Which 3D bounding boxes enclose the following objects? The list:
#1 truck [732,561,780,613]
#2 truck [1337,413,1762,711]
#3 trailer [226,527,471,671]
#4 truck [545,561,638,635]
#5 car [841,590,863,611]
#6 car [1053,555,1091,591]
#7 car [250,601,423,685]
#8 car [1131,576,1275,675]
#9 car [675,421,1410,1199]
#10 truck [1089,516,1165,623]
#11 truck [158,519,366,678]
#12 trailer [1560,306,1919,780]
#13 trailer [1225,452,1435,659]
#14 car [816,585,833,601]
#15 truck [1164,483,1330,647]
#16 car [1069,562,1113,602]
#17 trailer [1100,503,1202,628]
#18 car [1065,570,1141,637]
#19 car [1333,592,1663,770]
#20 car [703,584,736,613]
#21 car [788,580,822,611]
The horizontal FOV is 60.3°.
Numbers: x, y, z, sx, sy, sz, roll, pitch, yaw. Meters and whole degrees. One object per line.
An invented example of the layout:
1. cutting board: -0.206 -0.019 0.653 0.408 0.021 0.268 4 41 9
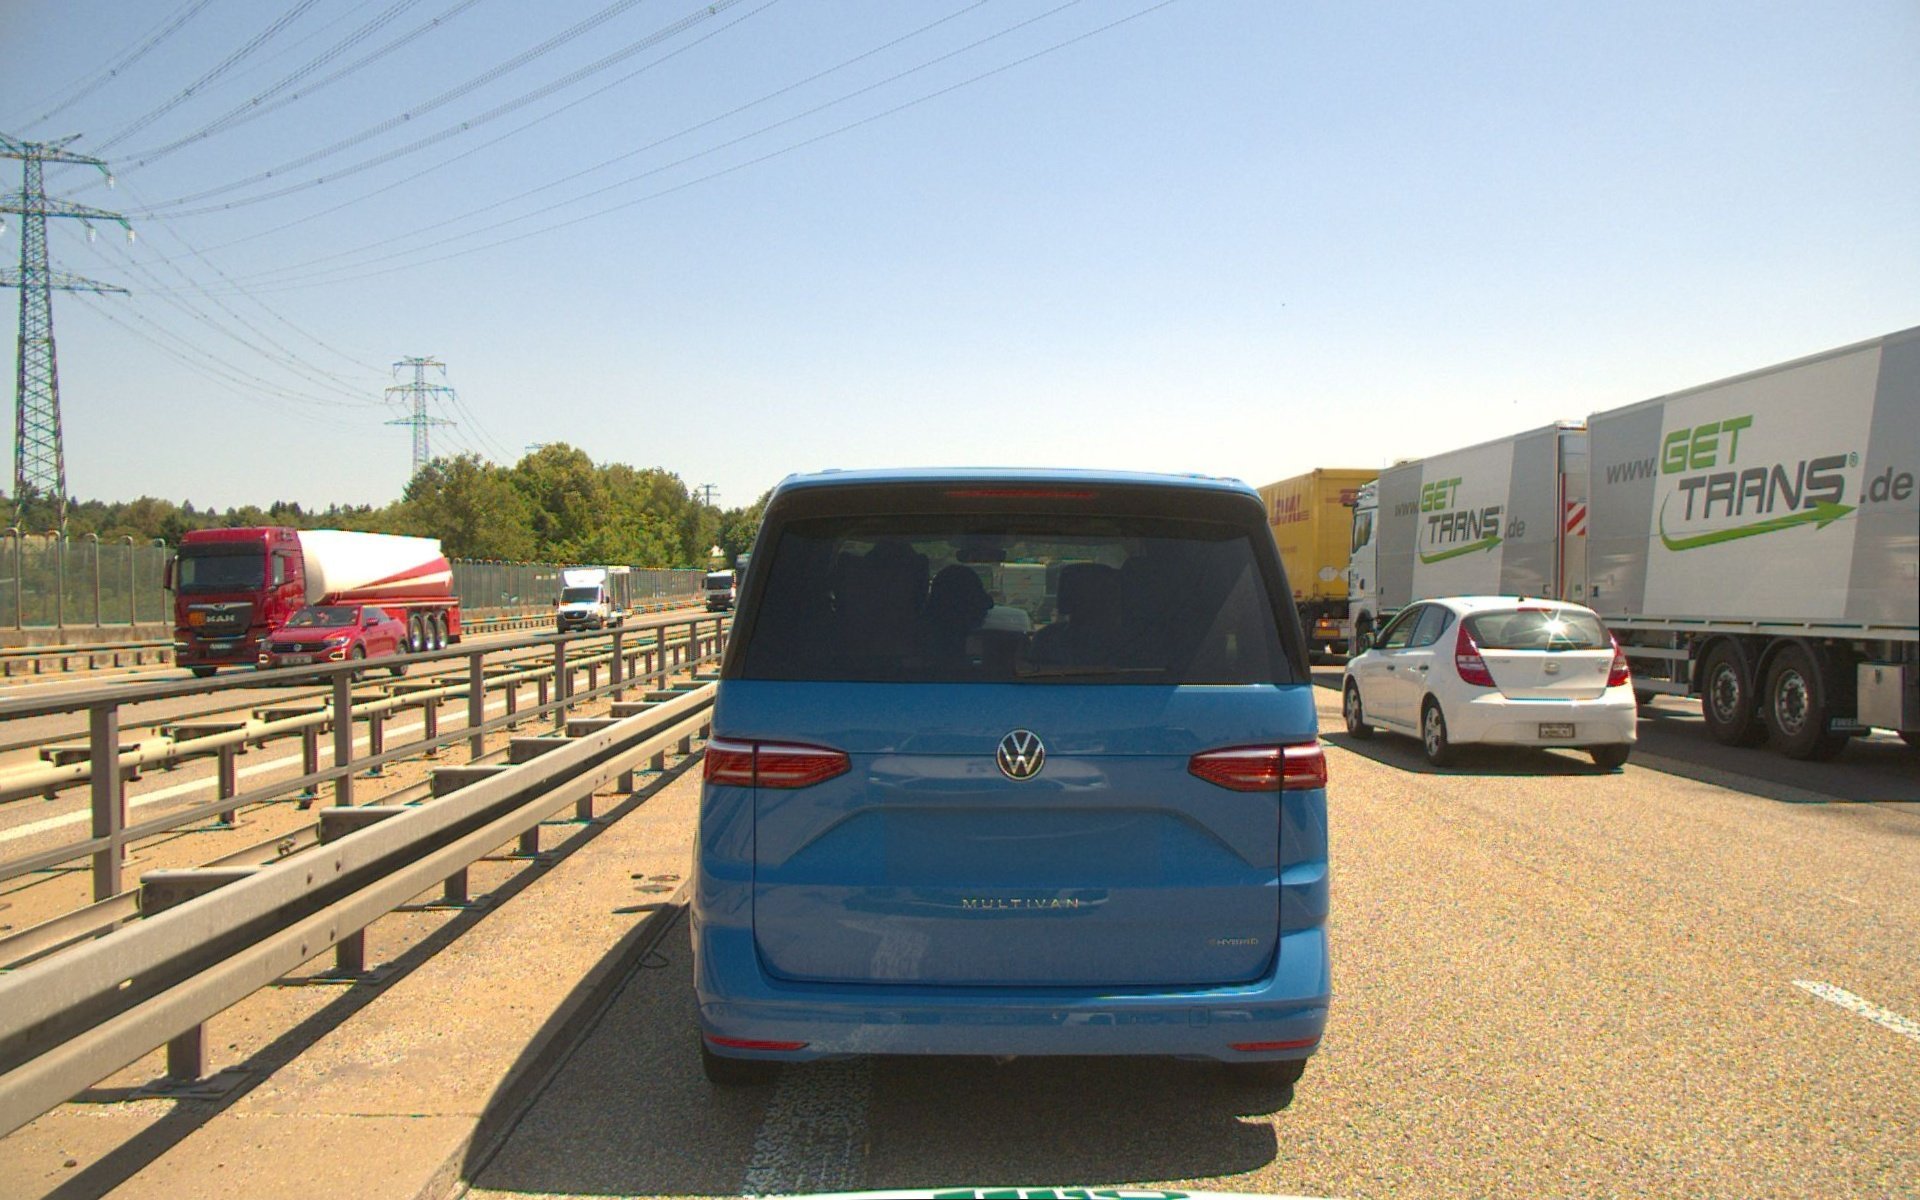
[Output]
1. truck: -14.235 -0.885 116.115 2.510 3.418 8.860 -2 0 -2
2. truck: 8.623 -0.510 26.160 2.603 3.711 11.008 0 0 -1
3. trailer: -16.616 -0.059 46.164 2.430 3.402 12.070 -2 0 -1
4. truck: -17.250 -0.102 77.889 2.468 3.164 8.720 -3 0 -2
5. car: -10.743 0.020 164.256 1.953 2.049 4.311 1 0 -1
6. car: 6.686 -1.588 99.085 1.953 2.049 4.460 -1 0 -1
7. car: -12.184 0.789 32.610 1.826 1.469 4.130 -2 0 -1
8. car: 4.325 0.424 30.089 1.922 1.673 4.292 0 0 -1
9. car: 0.184 0.517 6.104 1.783 1.890 4.074 1 0 -1
10. truck: 7.478 -1.324 74.690 2.613 4.562 6.848 1 0 -1
11. truck: -16.499 -0.054 39.541 2.447 3.424 5.833 -2 0 -1
12. trailer: 8.875 -0.480 16.623 2.643 3.765 8.013 0 0 -1
13. trailer: 8.519 -0.934 39.371 2.806 4.313 9.009 1 0 -1
14. car: -18.190 -0.937 221.997 1.953 2.049 3.999 1 0 -1
15. truck: 8.292 -0.947 49.383 2.778 4.317 11.008 1 0 -1
16. car: 6.988 -0.957 88.274 1.953 2.049 3.999 1 0 -1
17. trailer: 7.570 -1.311 67.014 2.583 4.595 11.299 1 0 -1
18. car: 4.421 0.089 51.654 1.922 2.028 4.292 0 0 -1
19. car: 5.002 0.671 16.025 1.752 1.481 4.292 0 0 -1
20. car: -19.301 -0.149 132.869 2.040 2.187 4.311 -2 1 -1
21. car: -10.359 -0.285 110.702 1.862 2.049 3.999 1 0 -1
